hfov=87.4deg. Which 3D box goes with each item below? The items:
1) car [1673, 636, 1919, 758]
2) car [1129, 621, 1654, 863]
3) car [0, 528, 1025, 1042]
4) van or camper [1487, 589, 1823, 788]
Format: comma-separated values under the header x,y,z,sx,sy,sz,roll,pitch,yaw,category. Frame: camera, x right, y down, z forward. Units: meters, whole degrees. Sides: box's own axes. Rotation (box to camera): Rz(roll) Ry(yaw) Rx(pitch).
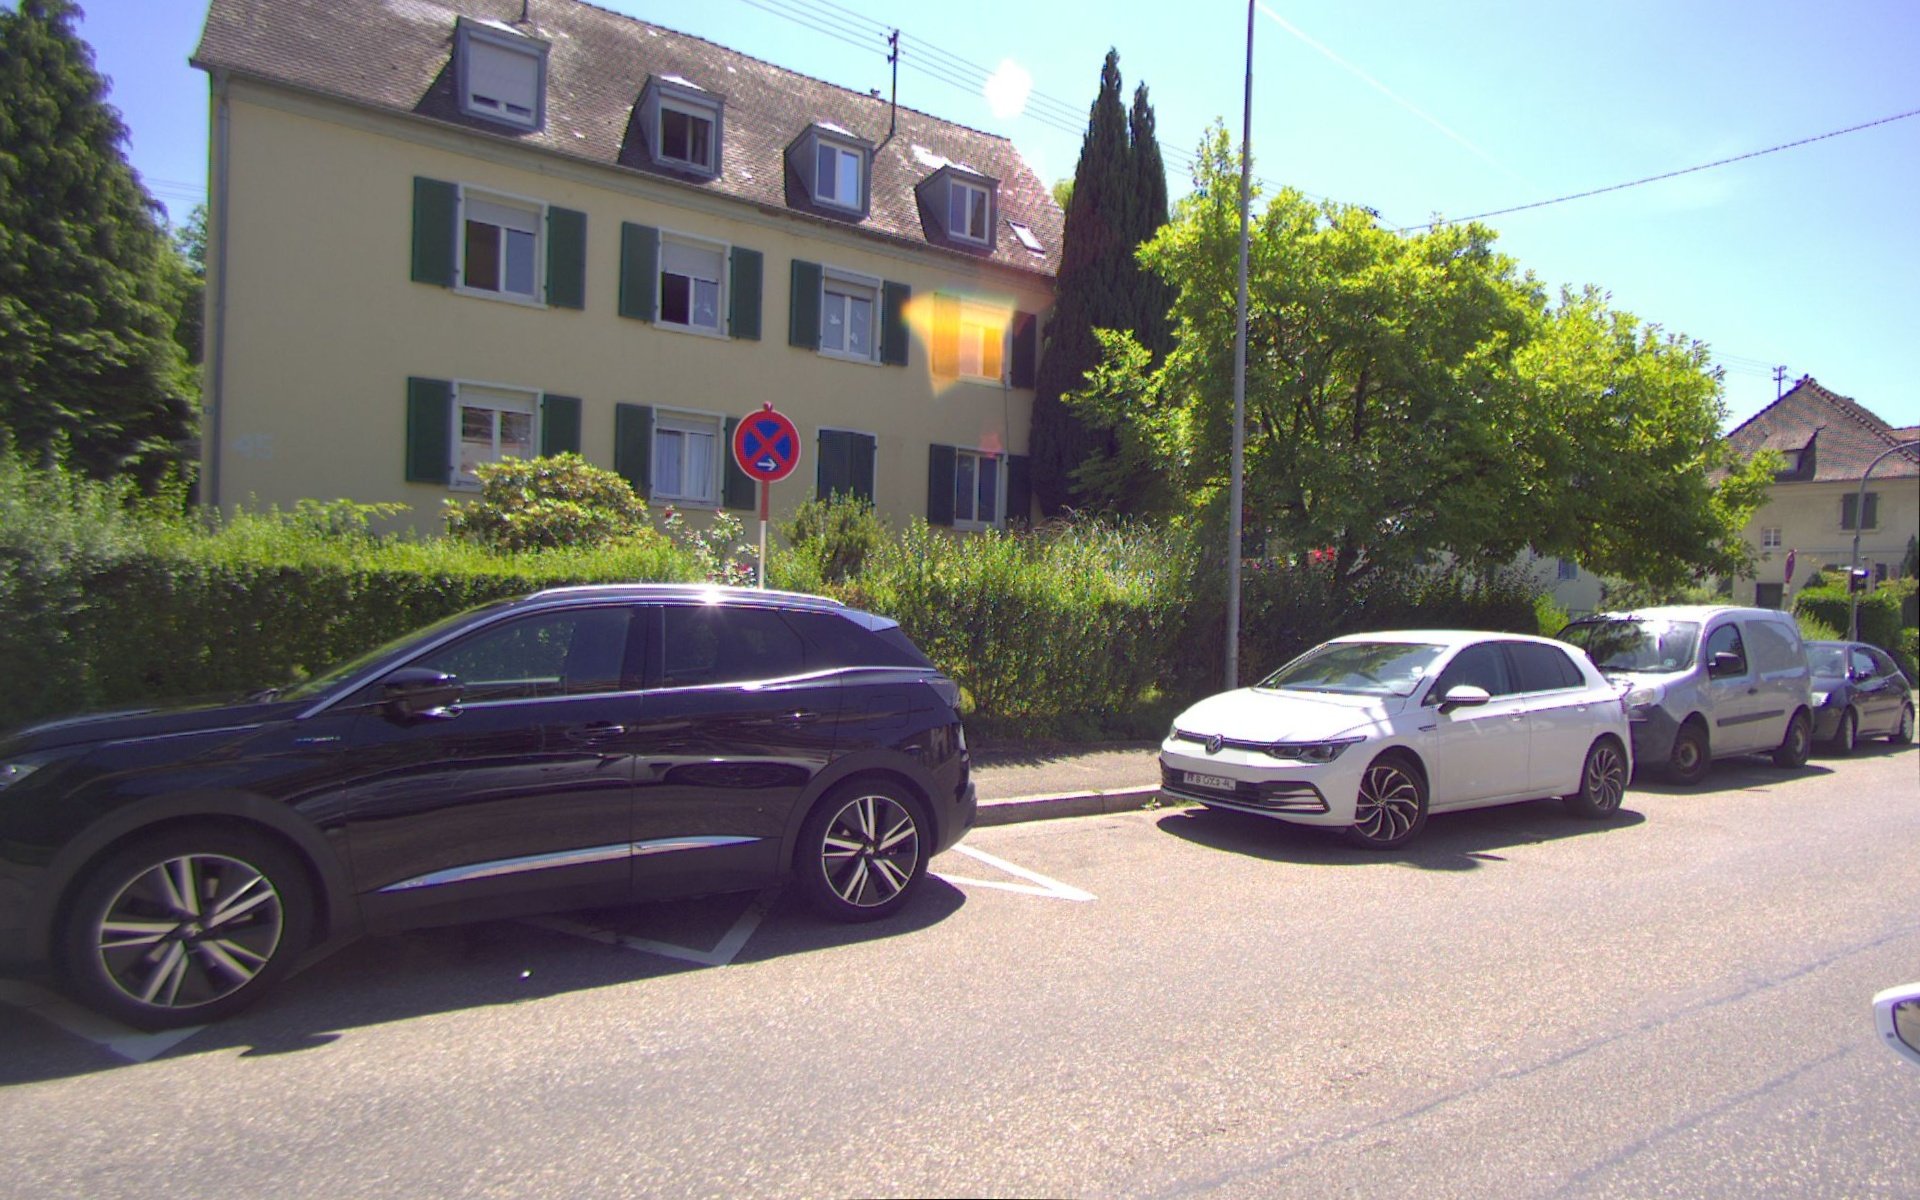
x,y,z,sx,sy,sz,roll,pitch,yaw,category
11.561,1.238,13.795,3.886,1.431,1.670,2,-2,-34,car
3.491,0.941,7.904,4.198,1.460,1.673,2,-2,-31,car
-1.919,0.668,4.938,4.281,1.658,1.673,2,-2,-31,car
7.713,0.889,11.056,3.942,1.828,1.672,2,-2,-33,van or camper
